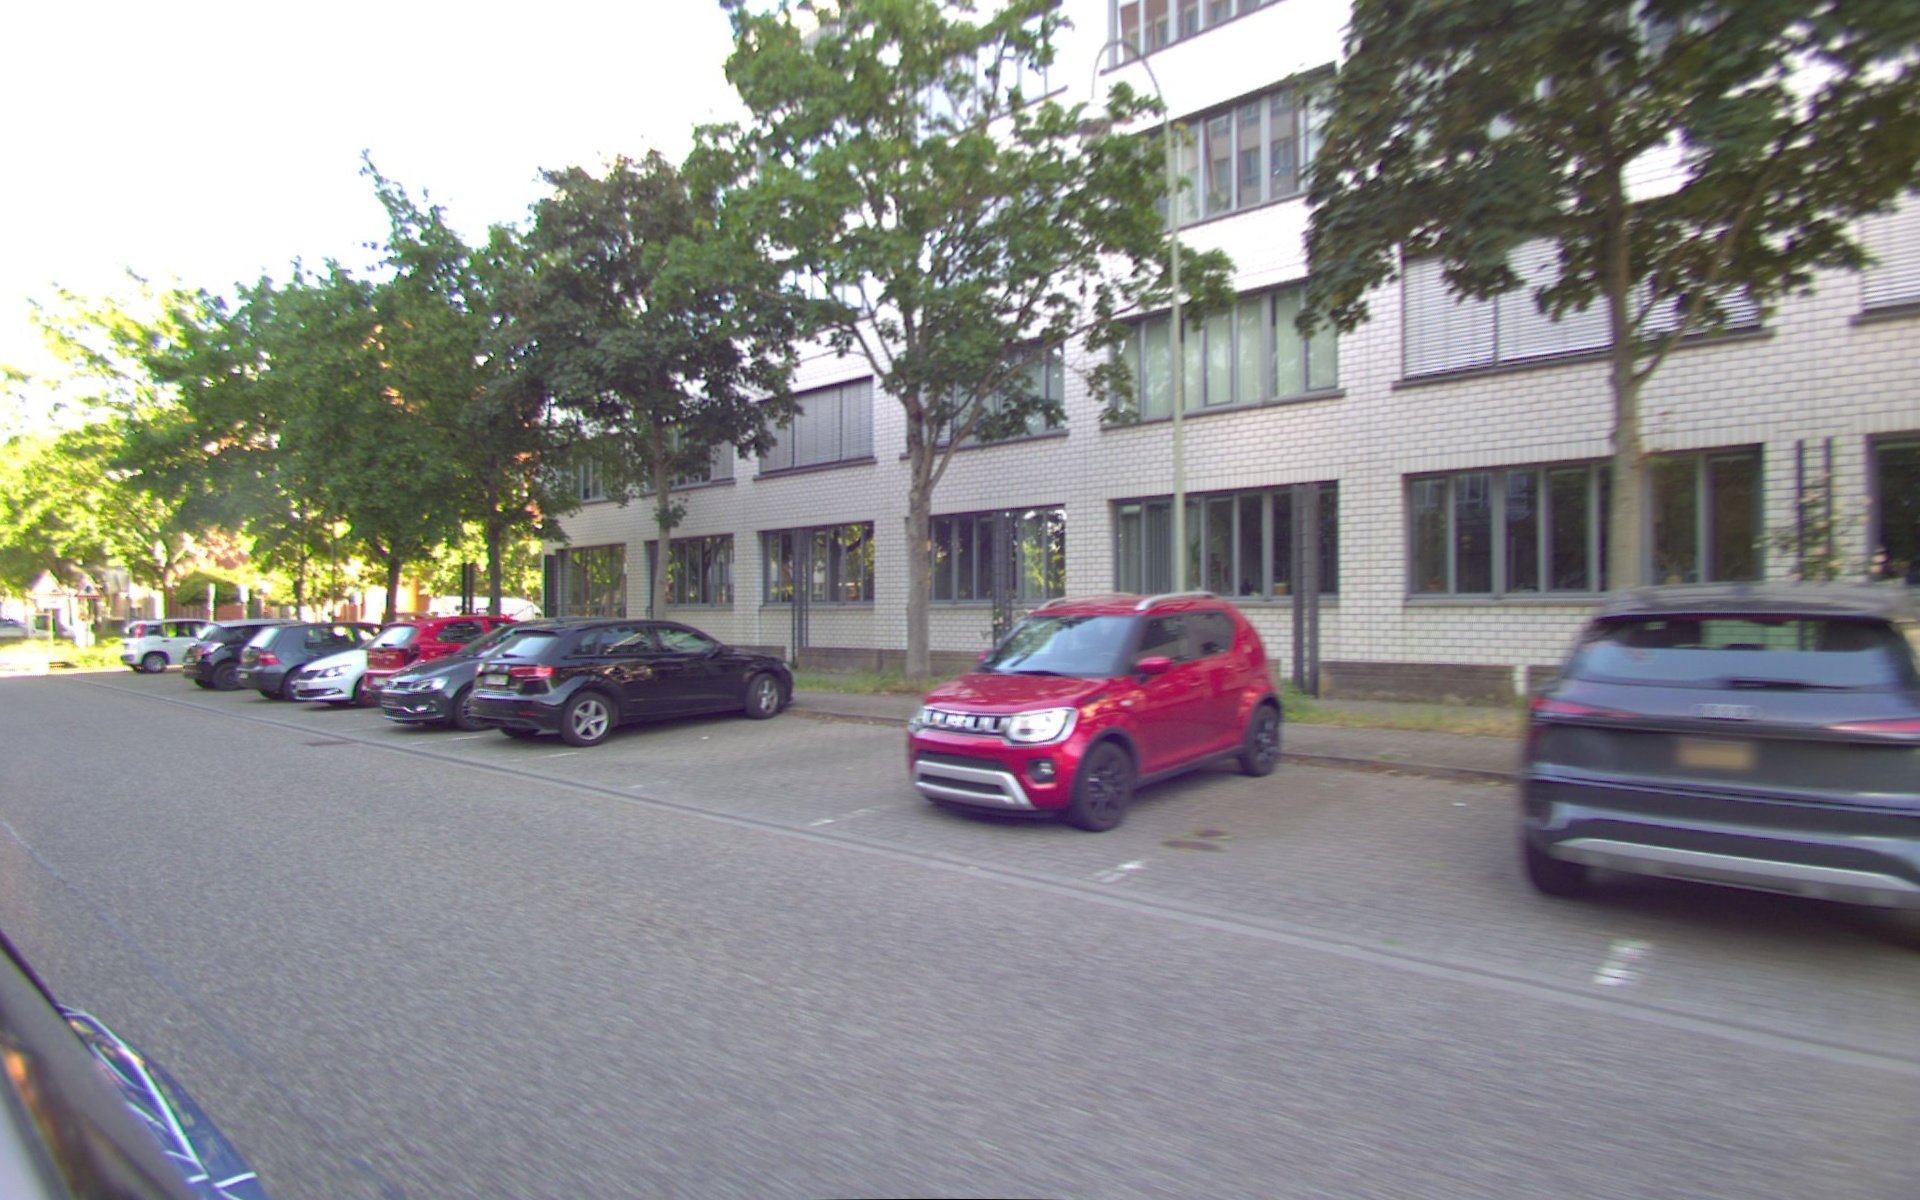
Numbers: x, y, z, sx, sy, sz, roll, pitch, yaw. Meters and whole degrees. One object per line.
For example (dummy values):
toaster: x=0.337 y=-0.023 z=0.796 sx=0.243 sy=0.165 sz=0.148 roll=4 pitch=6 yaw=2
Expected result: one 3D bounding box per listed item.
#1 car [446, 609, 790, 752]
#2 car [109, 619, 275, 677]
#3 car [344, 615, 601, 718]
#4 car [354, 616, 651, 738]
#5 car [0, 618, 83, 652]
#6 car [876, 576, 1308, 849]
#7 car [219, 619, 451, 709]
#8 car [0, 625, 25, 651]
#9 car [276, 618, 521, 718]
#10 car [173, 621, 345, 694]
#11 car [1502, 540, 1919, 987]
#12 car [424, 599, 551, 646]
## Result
car: x=-4.183 y=0.913 z=12.835 sx=1.686 sy=1.424 sz=3.784 roll=-3 pitch=-1 yaw=39
car: x=-22.376 y=1.335 z=29.581 sx=1.616 sy=1.519 sz=3.585 roll=-1 pitch=0 yaw=39
car: x=-7.996 y=1.013 z=16.838 sx=1.655 sy=1.456 sz=3.497 roll=-1 pitch=0 yaw=37
car: x=-6.378 y=0.986 z=14.372 sx=1.656 sy=1.447 sz=3.494 roll=-1 pitch=0 yaw=39
car: x=-48.548 y=1.781 z=51.906 sx=1.953 sy=1.637 sz=5.184 roll=-1 pitch=0 yaw=42
car: x=1.208 y=0.682 z=8.094 sx=1.655 sy=1.681 sz=3.533 roll=-2 pitch=0 yaw=43
car: x=-11.990 y=1.151 z=19.575 sx=1.645 sy=1.517 sz=3.494 roll=-1 pitch=0 yaw=39
car: x=-57.872 y=2.265 z=59.652 sx=1.953 sy=1.483 sz=3.916 roll=-1 pitch=0 yaw=42
car: x=-9.952 y=1.128 z=18.108 sx=1.656 sy=1.541 sz=3.483 roll=-1 pitch=0 yaw=39
car: x=-15.489 y=1.220 z=22.441 sx=1.388 sy=1.454 sz=2.895 roll=-1 pitch=-1 yaw=40
car: x=4.513 y=0.580 z=5.528 sx=1.803 sy=1.632 sz=4.069 roll=-2 pitch=0 yaw=42
car: x=-22.763 y=1.033 z=48.909 sx=1.930 sy=2.114 sz=5.263 roll=-1 pitch=0 yaw=38
